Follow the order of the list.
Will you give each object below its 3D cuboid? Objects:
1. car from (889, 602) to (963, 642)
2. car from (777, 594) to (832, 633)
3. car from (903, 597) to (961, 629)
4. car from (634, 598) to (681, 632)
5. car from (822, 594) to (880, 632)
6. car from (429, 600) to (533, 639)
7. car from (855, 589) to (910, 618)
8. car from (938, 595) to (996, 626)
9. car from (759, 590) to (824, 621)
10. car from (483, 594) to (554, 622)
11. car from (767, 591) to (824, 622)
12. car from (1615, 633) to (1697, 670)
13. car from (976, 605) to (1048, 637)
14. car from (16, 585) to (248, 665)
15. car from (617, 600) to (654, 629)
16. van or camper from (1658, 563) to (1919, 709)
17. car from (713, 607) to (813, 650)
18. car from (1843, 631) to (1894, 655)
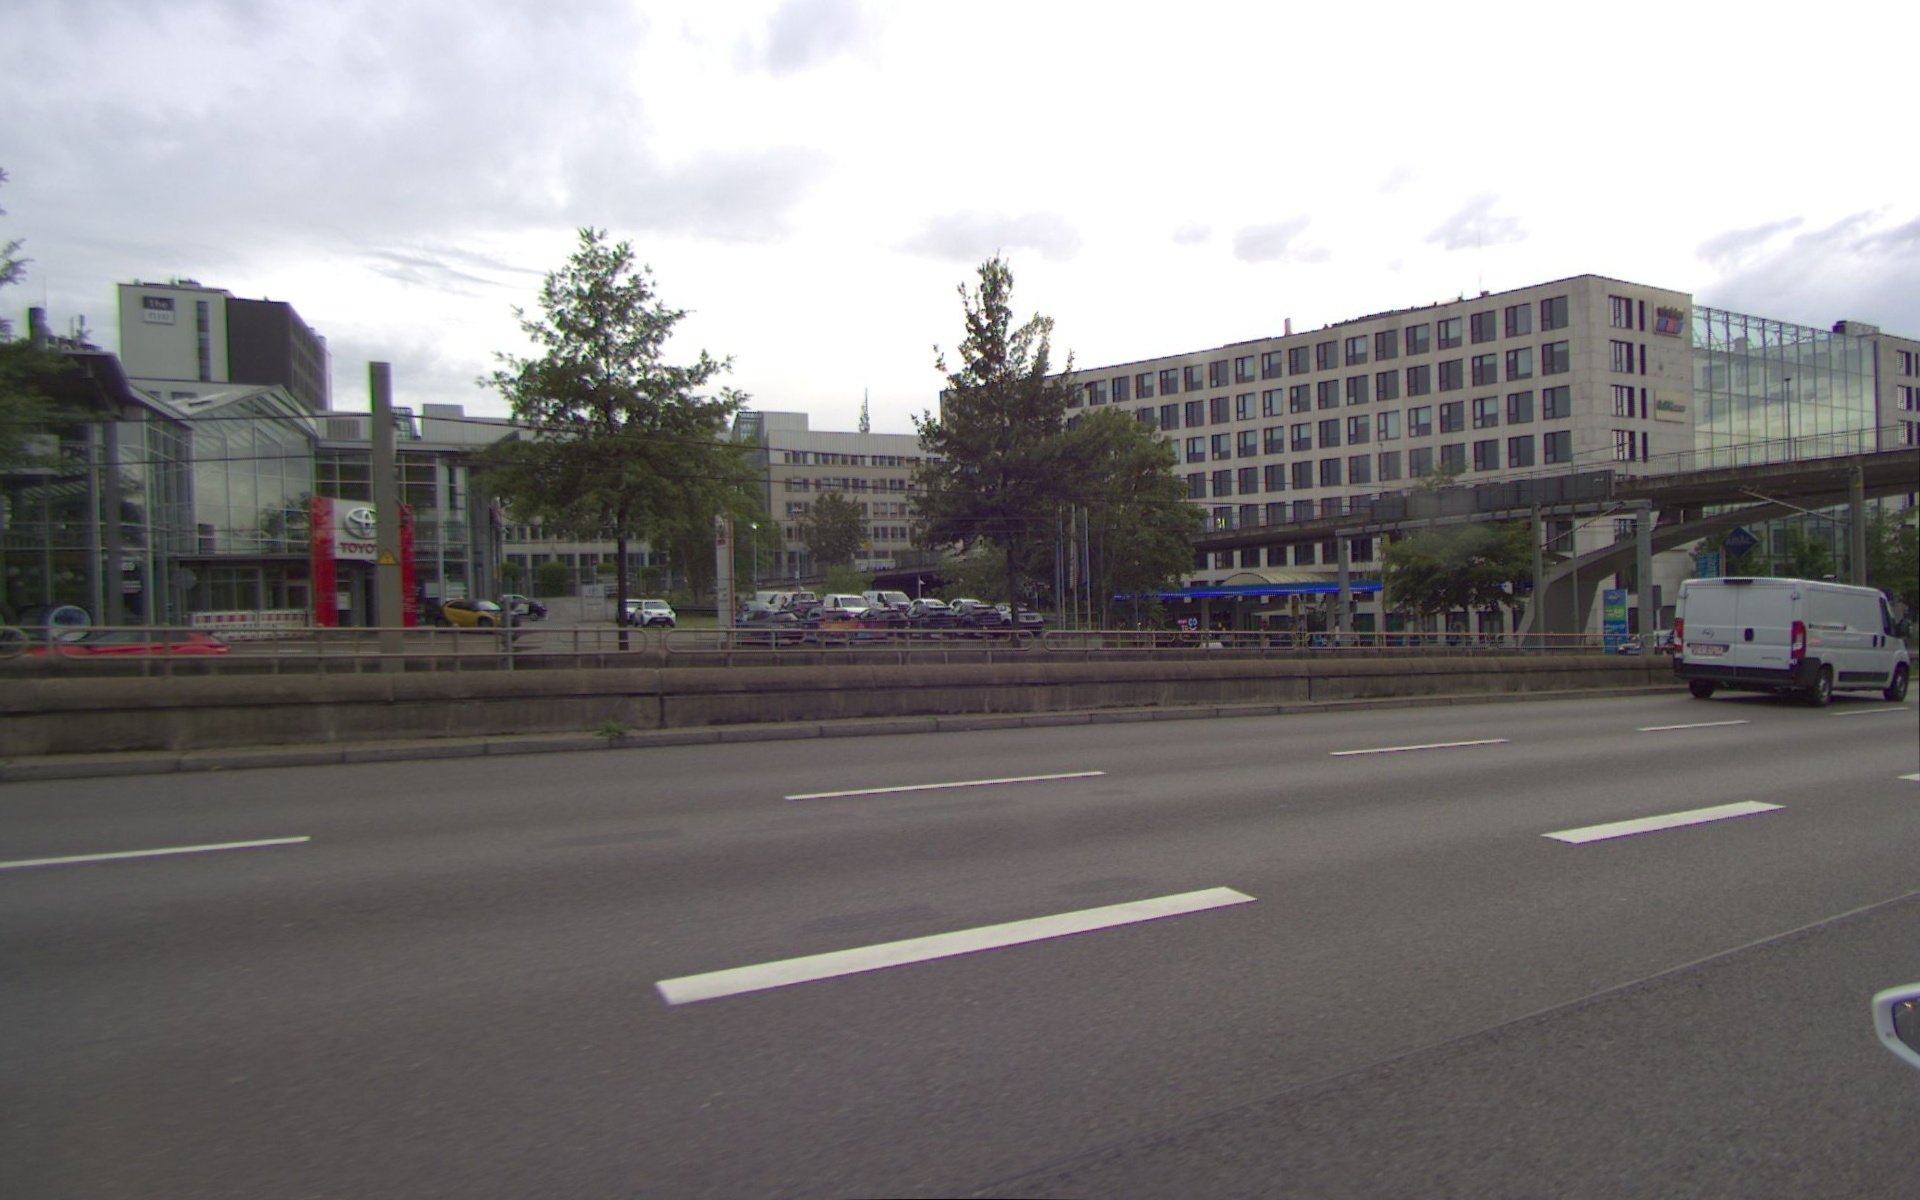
[{"bbox_3d":[-1.624,0.979,46.717,1.974,1.673,3.972,1,1,-27],"label":"car"},{"bbox_3d":[-8.421,0.727,54.187,1.972,2.040,3.977,1,-1,-24],"label":"car"},{"bbox_3d":[-1.627,0.727,57.754,1.972,1.673,3.976,-2,2,-24],"label":"car"},{"bbox_3d":[-16.482,0.776,54.594,1.972,1.673,3.976,-2,2,-24],"label":"car"},{"bbox_3d":[-5.963,0.680,54.591,1.972,1.901,3.976,-2,2,-24],"label":"car"},{"bbox_3d":[-21.900,0.872,45.986,3.920,1.673,2.000,0,2,16],"label":"car"},{"bbox_3d":[-4.884,0.192,63.055,1.801,1.673,3.964,-2,2,-32],"label":"car"},{"bbox_3d":[0.375,0.602,59.341,1.972,1.673,3.976,-2,2,-24],"label":"car"},{"bbox_3d":[-11.660,0.349,69.467,3.923,2.076,1.999,0,2,23],"label":"car"},{"bbox_3d":[-32.158,0.545,73.288,4.659,1.865,1.755,-2,2,-23],"label":"car"},{"bbox_3d":[-9.698,0.346,59.083,1.977,1.673,3.966,-2,2,-31],"label":"car"},{"bbox_3d":[28.961,2.106,41.795,3.436,1.439,1.511,1,-1,-30],"label":"car"},{"bbox_3d":[2.491,0.994,49.145,1.826,1.372,3.972,1,1,-27],"label":"car"},{"bbox_3d":[-20.028,0.616,24.564,4.056,1.801,1.983,2,0,-31],"label":"car"},{"bbox_3d":[-20.879,0.876,64.578,1.971,1.673,3.978,-2,2,-22],"label":"car"},{"bbox_3d":[16.036,0.670,19.316,5.466,2.471,2.193,1,-1,-30],"label":"van or camper"},{"bbox_3d":[-8.509,1.178,43.414,3.930,1.673,1.995,1,1,31],"label":"car"},{"bbox_3d":[59.546,2.796,65.845,3.436,1.439,1.511,1,-1,-30],"label":"car"}]
